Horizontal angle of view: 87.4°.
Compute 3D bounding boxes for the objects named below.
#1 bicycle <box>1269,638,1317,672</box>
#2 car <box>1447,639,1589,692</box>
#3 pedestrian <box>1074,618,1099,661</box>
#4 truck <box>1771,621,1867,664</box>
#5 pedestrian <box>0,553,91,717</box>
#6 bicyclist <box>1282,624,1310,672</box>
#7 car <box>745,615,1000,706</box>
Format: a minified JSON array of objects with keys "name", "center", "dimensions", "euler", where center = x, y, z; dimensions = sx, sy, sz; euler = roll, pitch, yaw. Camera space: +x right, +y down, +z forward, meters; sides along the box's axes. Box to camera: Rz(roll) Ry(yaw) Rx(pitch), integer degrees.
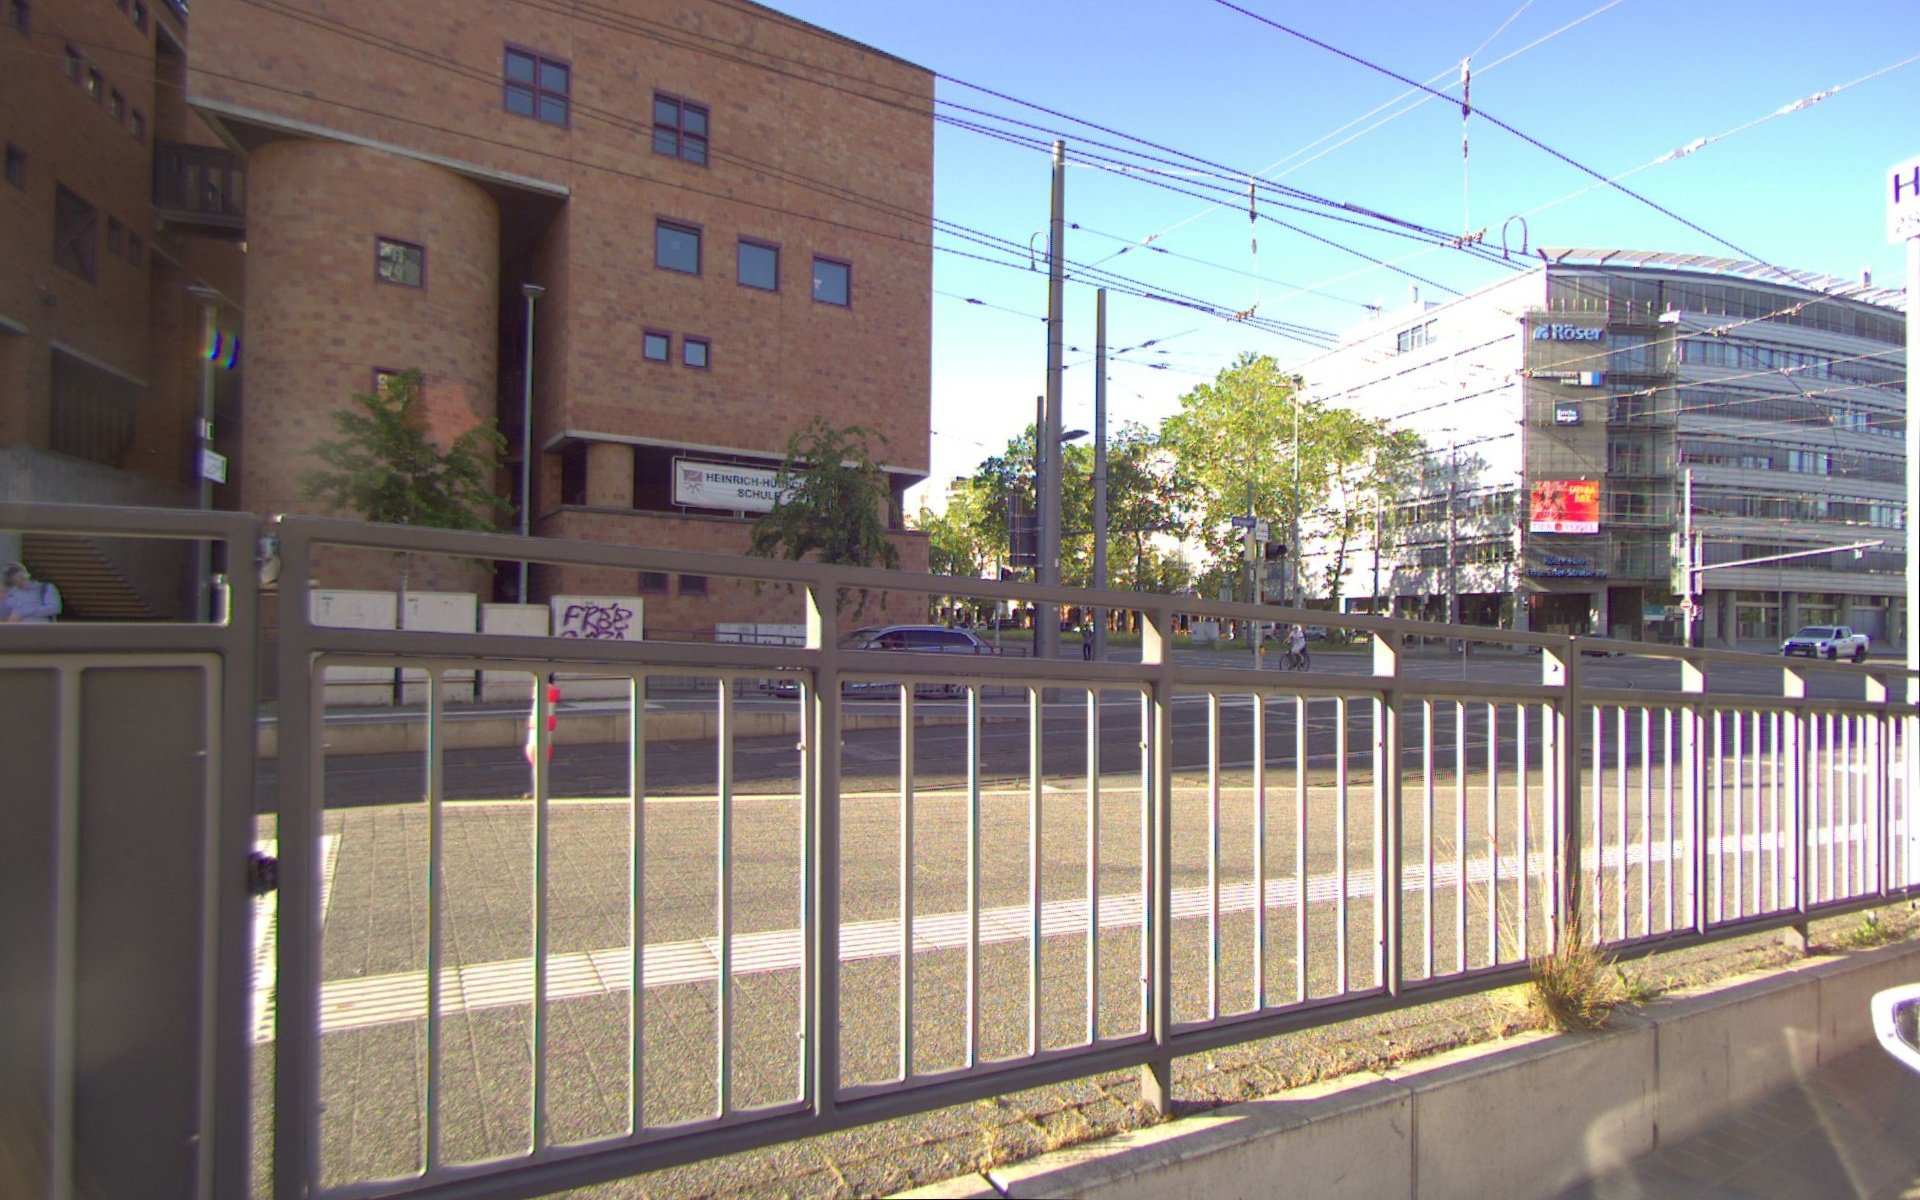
[{"name":"bicycle","center":[11.241,1.855,33.881],"dimensions":[1.793,1.104,0.458],"euler":[2,-3,-30]},{"name":"car","center":[13.541,1.550,24.434],"dimensions":[2.841,1.077,1.238],"euler":[2,0,40]},{"name":"pedestrian","center":[5.172,1.615,41.035],"dimensions":[0.785,1.714,0.587],"euler":[2,0,-29]},{"name":"truck","center":[40.717,2.054,47.561],"dimensions":[5.099,1.904,1.983],"euler":[3,-4,-32]},{"name":"pedestrian","center":[-9.676,0.358,10.572],"dimensions":[0.679,1.656,0.662],"euler":[2,0,-34]},{"name":"bicyclist","center":[11.302,1.609,33.823],"dimensions":[0.642,1.554,0.584],"euler":[2,0,-30]},{"name":"car","center":[-1.625,1.148,19.527],"dimensions":[4.646,1.589,1.814],"euler":[2,-2,-34]}]
